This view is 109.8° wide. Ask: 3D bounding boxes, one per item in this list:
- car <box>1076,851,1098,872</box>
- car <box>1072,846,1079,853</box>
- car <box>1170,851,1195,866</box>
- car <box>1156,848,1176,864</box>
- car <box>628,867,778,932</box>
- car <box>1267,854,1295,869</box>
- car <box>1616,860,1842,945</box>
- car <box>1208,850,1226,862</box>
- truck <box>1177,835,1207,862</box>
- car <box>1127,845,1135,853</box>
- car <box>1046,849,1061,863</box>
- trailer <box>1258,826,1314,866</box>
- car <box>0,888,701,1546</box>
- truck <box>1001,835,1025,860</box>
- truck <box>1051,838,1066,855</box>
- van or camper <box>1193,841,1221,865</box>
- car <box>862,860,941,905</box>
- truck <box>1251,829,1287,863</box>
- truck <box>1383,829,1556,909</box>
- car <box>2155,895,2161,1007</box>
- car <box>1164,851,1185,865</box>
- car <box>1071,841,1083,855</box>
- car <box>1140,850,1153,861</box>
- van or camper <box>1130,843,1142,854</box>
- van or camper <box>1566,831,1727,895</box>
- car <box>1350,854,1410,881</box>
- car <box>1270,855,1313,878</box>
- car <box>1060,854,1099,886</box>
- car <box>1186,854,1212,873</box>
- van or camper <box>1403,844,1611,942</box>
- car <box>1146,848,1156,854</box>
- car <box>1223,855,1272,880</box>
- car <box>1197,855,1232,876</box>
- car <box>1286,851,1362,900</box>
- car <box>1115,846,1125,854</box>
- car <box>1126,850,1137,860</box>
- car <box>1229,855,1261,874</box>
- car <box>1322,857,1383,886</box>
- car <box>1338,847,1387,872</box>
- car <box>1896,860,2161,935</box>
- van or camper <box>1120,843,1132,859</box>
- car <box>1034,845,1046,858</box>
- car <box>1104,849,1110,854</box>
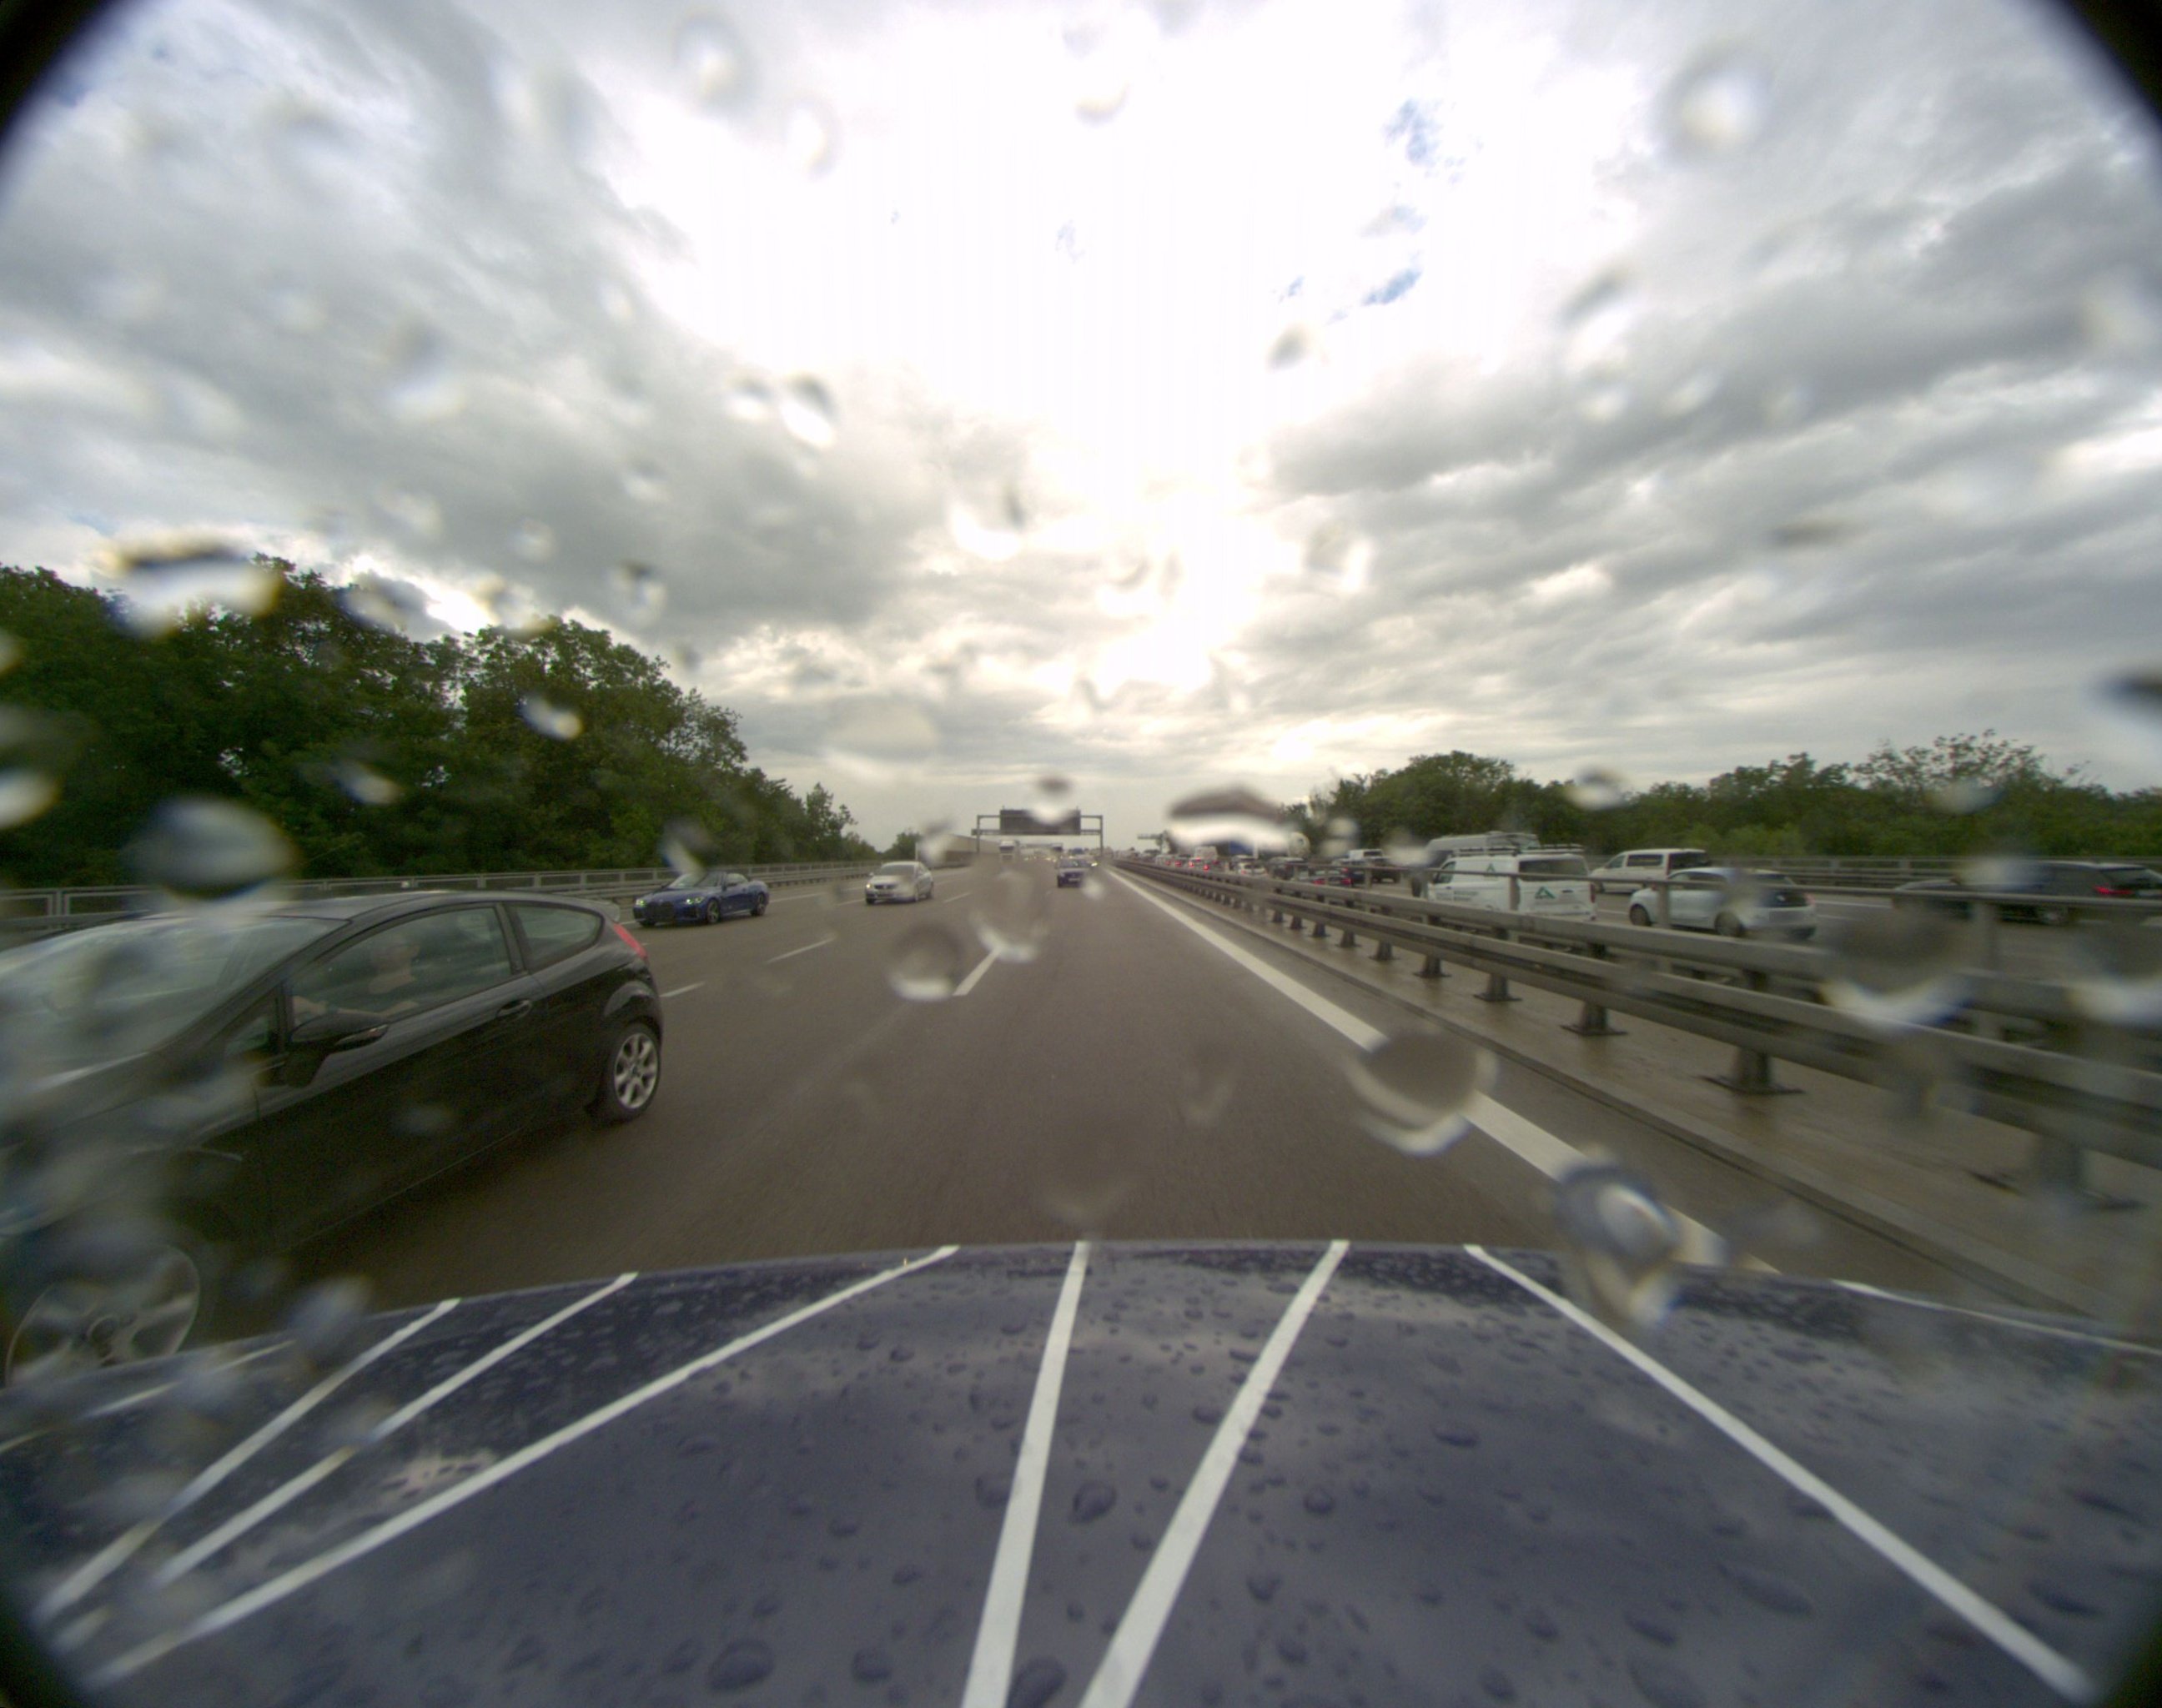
[{"bbox_3d":[0.512,0.584,61.711,1.751,1.489,4.015,-1,1,1],"label":"car"},{"bbox_3d":[-1.639,-1.218,217.229,1.998,2.002,3.507,-2,1,0],"label":"car"},{"bbox_3d":[10.265,0.428,76.960,1.794,1.501,4.602,-1,0,-1],"label":"car"},{"bbox_3d":[10.468,0.218,94.132,1.858,1.974,5.036,-1,0,-1],"label":"car"},{"bbox_3d":[-10.076,1.141,20.726,1.781,1.438,4.587,-1,0,0],"label":"car"},{"bbox_3d":[18.448,0.684,70.064,1.502,1.260,3.999,0,0,0],"label":"car"},{"bbox_3d":[14.479,0.992,17.325,1.681,1.626,3.999,-1,1,-1],"label":"car"},{"bbox_3d":[18.457,0.240,103.312,1.623,1.606,3.999,-1,0,0],"label":"car"},{"bbox_3d":[18.227,-0.893,125.685,3.266,4.268,10.867,-1,0,0],"label":"truck"},{"bbox_3d":[13.364,-1.373,203.871,1.999,1.956,3.999,-1,0,0],"label":"car"},{"bbox_3d":[-3.879,0.250,106.504,1.962,1.831,3.999,-1,1,-1],"label":"car"},{"bbox_3d":[22.291,-0.860,83.506,2.468,3.935,13.217,-1,0,0],"label":"trailer"},{"bbox_3d":[-3.530,0.992,3.231,1.668,1.431,4.404,-1,0,-1],"label":"car"},{"bbox_3d":[-11.236,-1.062,126.135,3.255,3.884,12.310,-2,1,-2],"label":"truck"},{"bbox_3d":[-5.266,-1.704,175.661,2.958,3.777,12.323,-2,1,-3],"label":"truck"},{"bbox_3d":[14.692,-0.148,89.069,2.039,2.589,7.457,0,0,0],"label":"van or camper"},{"bbox_3d":[-6.529,1.002,28.109,1.898,1.438,4.245,-1,0,0],"label":"car"},{"bbox_3d":[22.293,-0.925,90.539,2.468,3.942,6.981,-1,1,0],"label":"truck"},{"bbox_3d":[14.459,0.449,29.223,2.151,2.587,8.755,-1,0,0],"label":"truck"},{"bbox_3d":[14.457,1.213,7.108,1.681,1.401,5.015,-1,0,-1],"label":"car"},{"bbox_3d":[10.479,0.440,85.372,1.684,1.480,4.225,-1,0,-1],"label":"car"},{"bbox_3d":[-0.751,-1.049,137.240,1.998,2.354,4.172,-2,1,1],"label":"car"},{"bbox_3d":[9.969,0.207,115.777,1.674,1.497,3.999,-1,0,0],"label":"car"},{"bbox_3d":[13.260,-1.365,183.261,2.455,2.563,5.420,-1,0,0],"label":"van or camper"},{"bbox_3d":[22.484,0.325,30.627,2.051,2.316,5.933,0,0,0],"label":"van or camper"},{"bbox_3d":[18.188,0.788,46.413,1.836,1.503,4.584,-1,0,-1],"label":"car"},{"bbox_3d":[14.836,0.866,53.725,1.836,1.467,4.575,-1,0,0],"label":"car"},{"bbox_3d":[-0.076,0.753,37.950,1.781,1.399,5.015,-1,0,0],"label":"car"},{"bbox_3d":[10.897,0.842,70.450,1.794,1.618,4.927,-1,0,1],"label":"car"},{"bbox_3d":[10.202,0.803,18.874,1.988,2.056,5.642,-1,0,0],"label":"van or camper"},{"bbox_3d":[17.207,-0.819,187.748,2.025,1.504,3.999,-1,0,0],"label":"car"},{"bbox_3d":[10.481,0.814,48.294,1.836,1.467,5.923,-1,0,0],"label":"car"},{"bbox_3d":[10.787,0.906,61.731,1.957,1.506,5.071,-1,0,1],"label":"car"},{"bbox_3d":[10.521,0.869,33.239,1.953,1.937,4.725,-1,0,2],"label":"car"},{"bbox_3d":[9.193,-0.966,179.751,1.999,1.956,3.999,-1,0,0],"label":"car"},{"bbox_3d":[9.715,0.163,146.508,1.826,1.831,4.034,-1,0,-1],"label":"car"},{"bbox_3d":[14.595,0.917,67.764,1.836,1.638,4.418,-1,0,-1],"label":"car"},{"bbox_3d":[14.958,0.942,42.089,1.836,1.467,4.032,-1,0,-1],"label":"car"},{"bbox_3d":[22.984,0.382,62.241,2.008,1.933,5.420,0,0,0],"label":"car"},{"bbox_3d":[22.514,0.923,17.975,1.489,1.467,4.610,0,0,0],"label":"car"},{"bbox_3d":[9.489,-0.699,160.189,2.007,3.382,4.368,-1,1,-1],"label":"van or camper"},{"bbox_3d":[-8.360,-0.567,155.888,2.036,2.587,4.513,-1,1,1],"label":"car"},{"bbox_3d":[7.973,-0.692,231.084,1.737,1.565,3.999,0,0,0],"label":"car"}]
